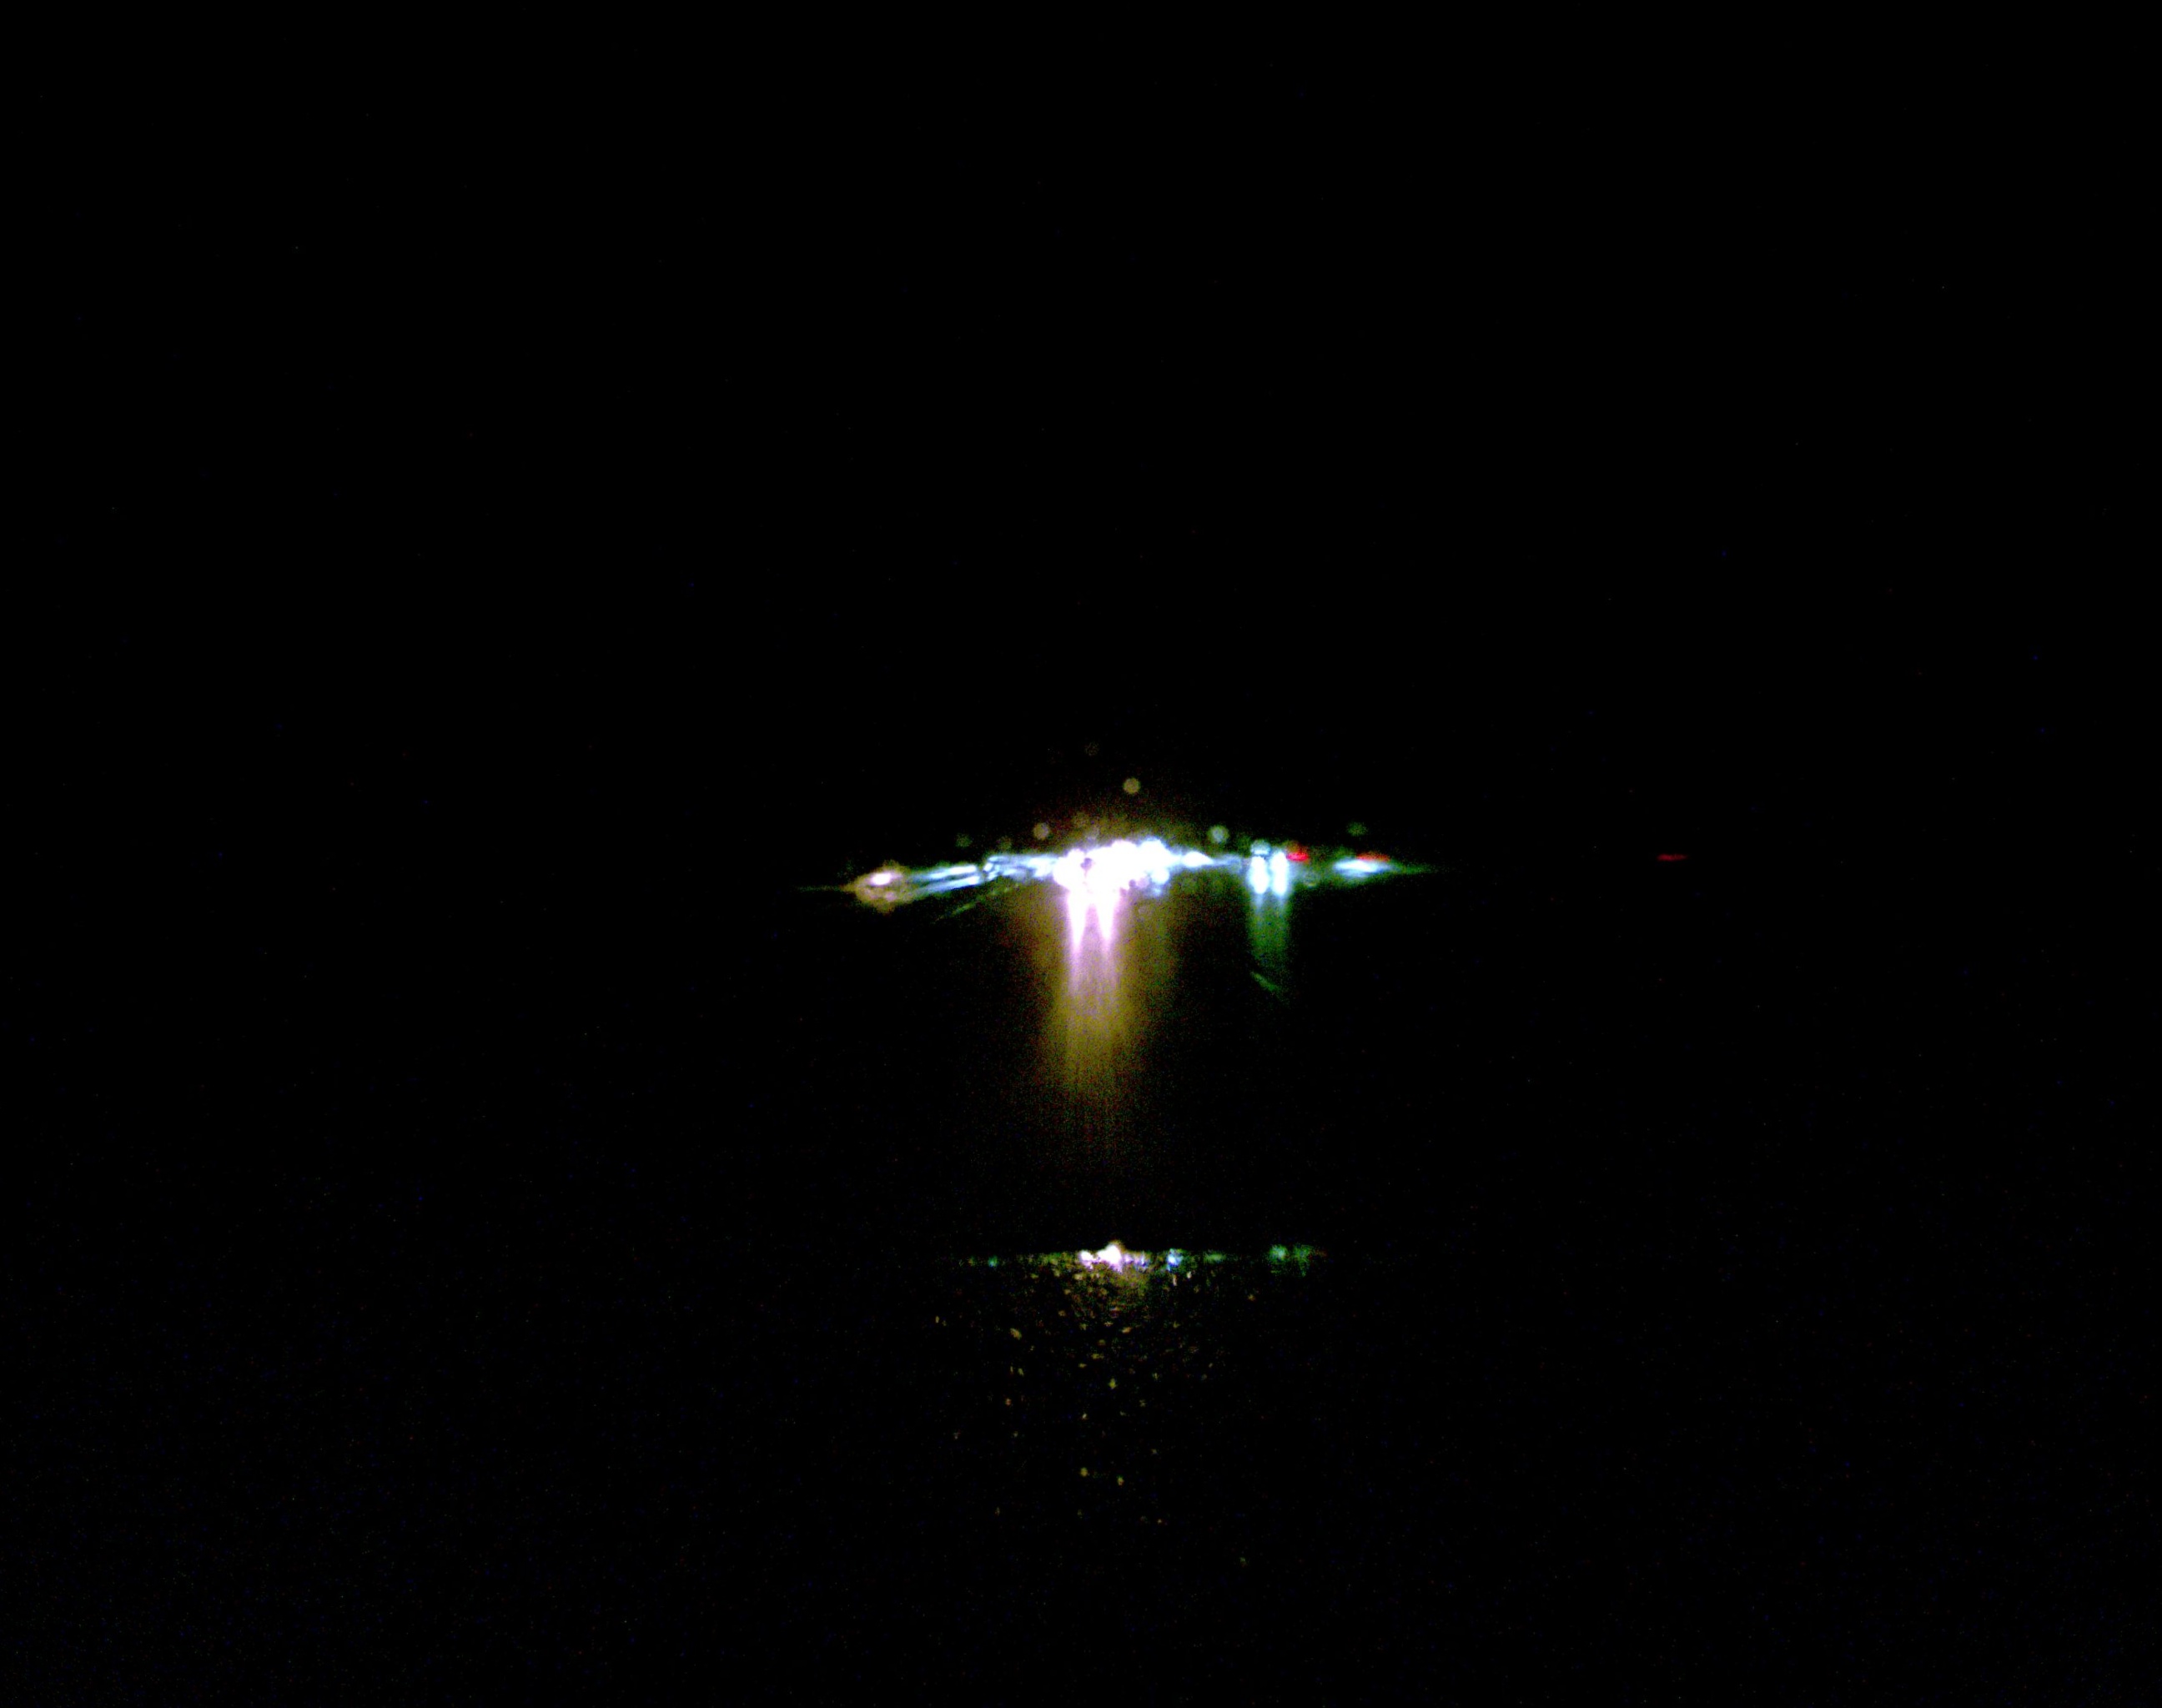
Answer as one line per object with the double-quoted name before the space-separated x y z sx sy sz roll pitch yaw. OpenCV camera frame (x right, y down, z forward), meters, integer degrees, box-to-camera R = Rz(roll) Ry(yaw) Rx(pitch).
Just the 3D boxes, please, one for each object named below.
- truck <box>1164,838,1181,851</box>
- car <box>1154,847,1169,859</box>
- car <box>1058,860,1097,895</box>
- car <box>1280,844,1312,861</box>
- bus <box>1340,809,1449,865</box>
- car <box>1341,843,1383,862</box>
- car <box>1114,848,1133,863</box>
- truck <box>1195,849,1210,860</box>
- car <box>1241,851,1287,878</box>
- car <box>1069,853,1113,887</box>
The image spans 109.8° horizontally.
"truck" 29.787 -3.200 248.369 3.508 3.865 17.179 -2 1 1
"car" 12.383 -0.146 116.803 1.998 1.797 4.000 -2 1 2
"car" -0.145 0.969 32.445 1.526 1.256 3.369 -2 1 0
"car" 21.433 -0.133 76.035 1.885 1.548 4.459 -2 1 0
"bus" 28.790 -1.503 71.241 3.082 4.464 17.010 -2 1 0
"car" 24.085 -0.138 65.251 1.885 1.548 4.459 -2 1 0
"car" 4.872 0.179 87.781 1.998 1.551 4.587 -2 1 1
"truck" 25.716 0.055 160.532 1.999 2.334 6.438 -2 1 0
"car" 12.038 0.664 50.286 1.998 1.551 4.587 -2 1 1
"car" 0.503 0.799 37.615 1.998 1.542 4.001 -2 -2 1
